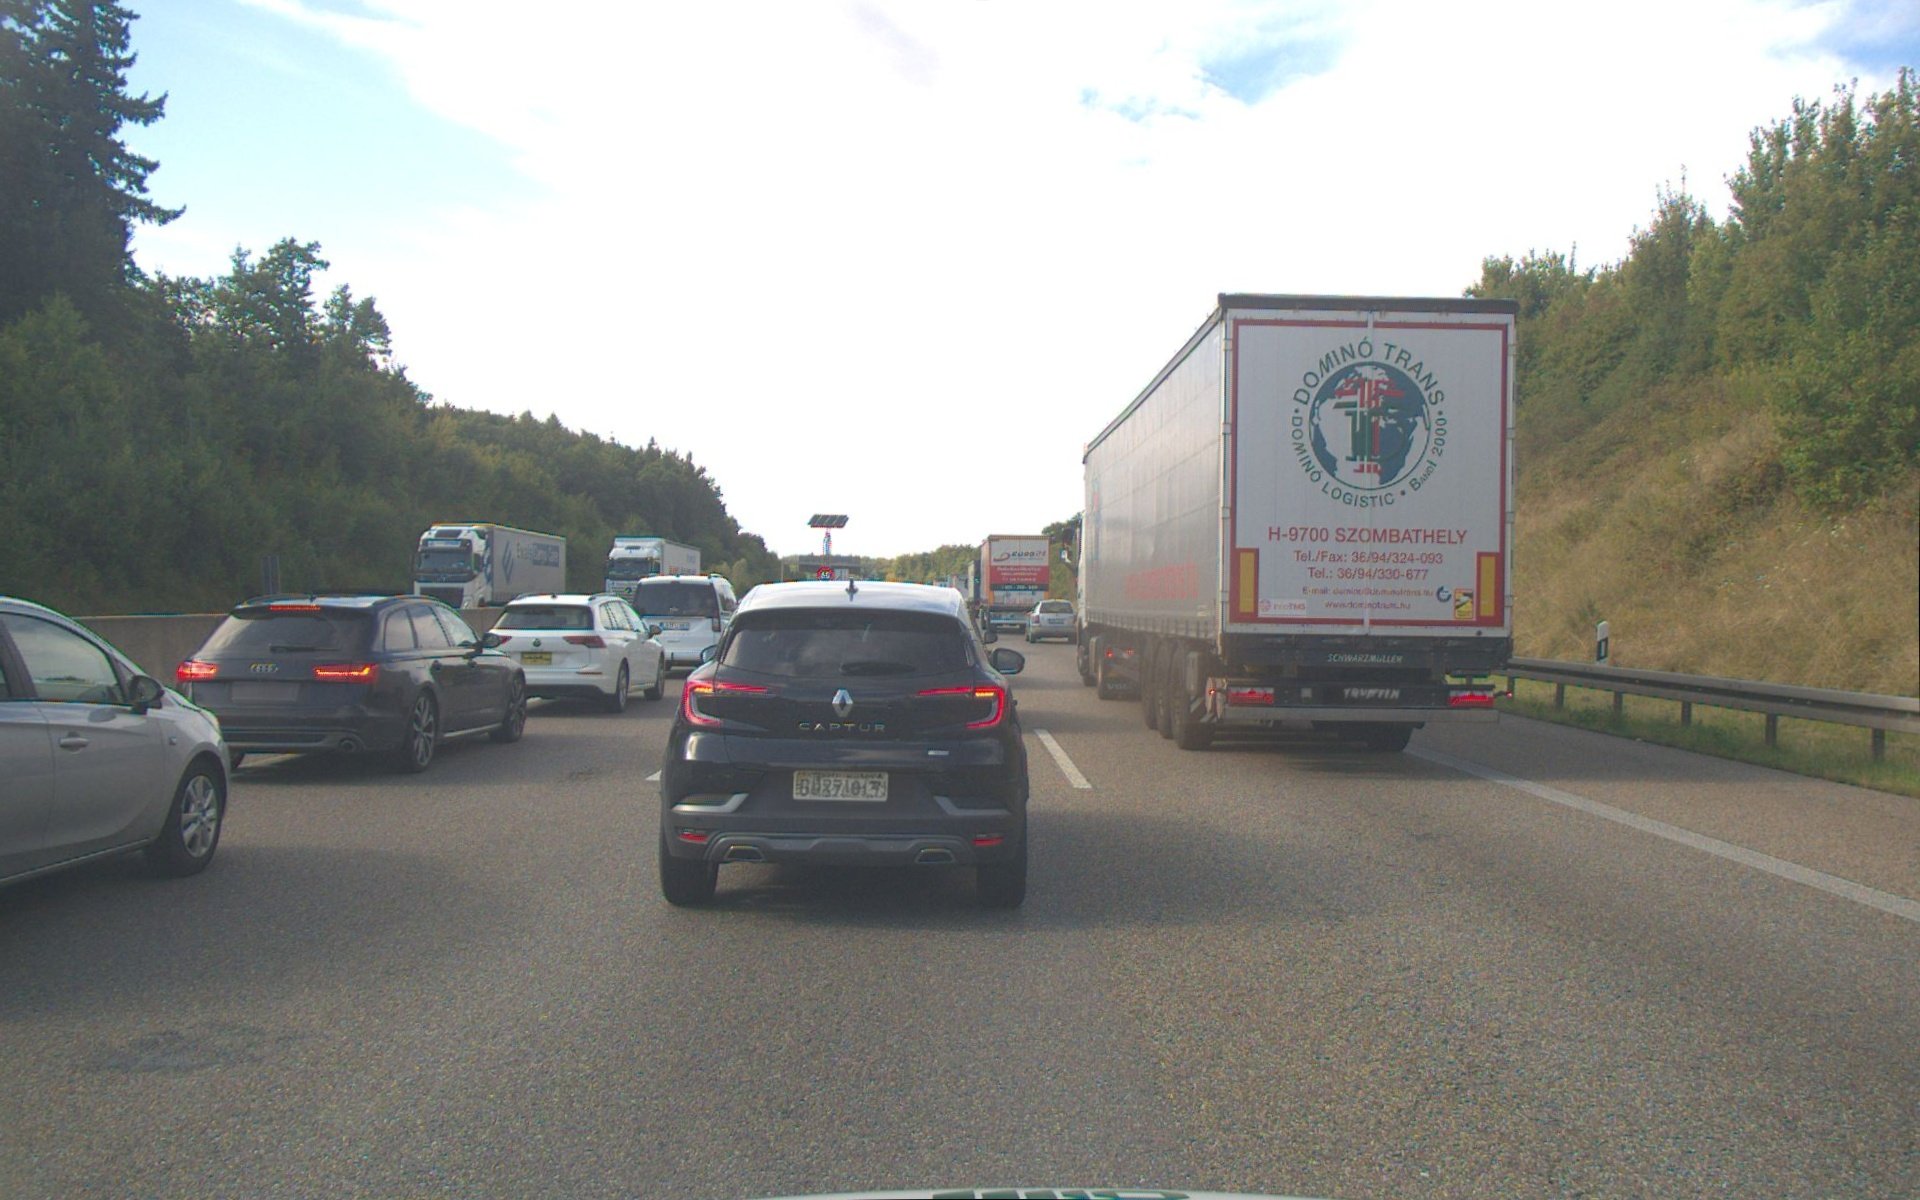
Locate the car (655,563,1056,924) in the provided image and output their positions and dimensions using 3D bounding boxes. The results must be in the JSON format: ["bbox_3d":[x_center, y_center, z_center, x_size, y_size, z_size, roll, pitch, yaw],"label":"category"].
[{"bbox_3d":[-0.400,0.635,9.304,1.767,1.579,4.001,0,0,2],"label":"car"}]

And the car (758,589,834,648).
[{"bbox_3d":[-5.049,0.563,51.340,1.953,1.752,4.000,1,0,0],"label":"car"}]

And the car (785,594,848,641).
[{"bbox_3d":[-5.227,0.621,60.723,1.953,1.641,4.000,1,0,0],"label":"car"}]

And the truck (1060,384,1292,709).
[{"bbox_3d":[3.355,-0.796,27.299,2.936,4.749,5.938,1,0,-1],"label":"truck"}]

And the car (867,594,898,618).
[{"bbox_3d":[-5.465,0.406,116.895,1.953,1.641,4.000,1,0,0],"label":"car"}]

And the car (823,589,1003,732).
[{"bbox_3d":[-0.519,0.679,20.243,1.953,1.540,4.000,1,0,0],"label":"car"}]

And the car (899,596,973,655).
[{"bbox_3d":[-0.641,0.695,45.828,1.953,1.540,4.000,1,0,0],"label":"car"}]

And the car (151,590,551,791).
[{"bbox_3d":[-5.150,0.669,14.774,1.805,1.481,4.747,1,0,0],"label":"car"}]

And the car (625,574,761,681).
[{"bbox_3d":[-4.886,0.483,30.826,1.873,1.821,4.416,1,0,-1],"label":"car"}]

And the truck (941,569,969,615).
[{"bbox_3d":[-0.576,-0.897,196.593,3.101,5.250,12.736,1,0,0],"label":"truck"}]

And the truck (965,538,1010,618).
[{"bbox_3d":[1.949,-1.542,123.553,3.101,5.601,12.736,1,0,0],"label":"truck"}]

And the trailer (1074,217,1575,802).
[{"bbox_3d":[3.448,-0.762,20.172,2.941,4.742,13.287,1,0,-1],"label":"trailer"}]

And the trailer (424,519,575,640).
[{"bbox_3d":[-20.606,-0.795,75.218,2.867,4.914,14.650,1,0,-1],"label":"trailer"}]

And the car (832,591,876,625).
[{"bbox_3d":[-5.378,0.398,84.492,1.953,1.641,4.000,1,0,0],"label":"car"}]

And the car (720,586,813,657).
[{"bbox_3d":[-4.811,0.519,41.534,1.817,1.669,3.925,1,0,0],"label":"car"}]

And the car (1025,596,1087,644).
[{"bbox_3d":[3.245,0.666,56.457,1.768,1.559,3.924,1,0,-1],"label":"car"}]

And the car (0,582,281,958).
[{"bbox_3d":[-4.663,0.669,7.279,1.711,1.491,4.040,0,0,-1],"label":"car"}]

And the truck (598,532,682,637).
[{"bbox_3d":[-16.616,-0.752,86.321,3.025,5.190,7.140,1,0,-1],"label":"truck"}]

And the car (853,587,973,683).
[{"bbox_3d":[-0.775,0.584,29.170,1.953,1.540,4.000,1,0,0],"label":"car"}]

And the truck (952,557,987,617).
[{"bbox_3d":[1.000,-1.192,161.714,3.101,5.601,12.739,1,0,2],"label":"truck"}]

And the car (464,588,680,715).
[{"bbox_3d":[-4.960,0.622,21.741,1.767,1.486,4.308,1,0,1],"label":"car"}]

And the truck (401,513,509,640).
[{"bbox_3d":[-20.507,-0.916,67.422,2.872,4.944,4.764,1,-1,-1],"label":"truck"}]

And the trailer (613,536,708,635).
[{"bbox_3d":[-16.751,-0.717,93.513,3.025,5.162,13.831,1,0,-1],"label":"trailer"}]

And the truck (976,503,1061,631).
[{"bbox_3d":[2.419,-1.297,73.284,3.296,5.132,12.736,1,0,0],"label":"truck"}]
